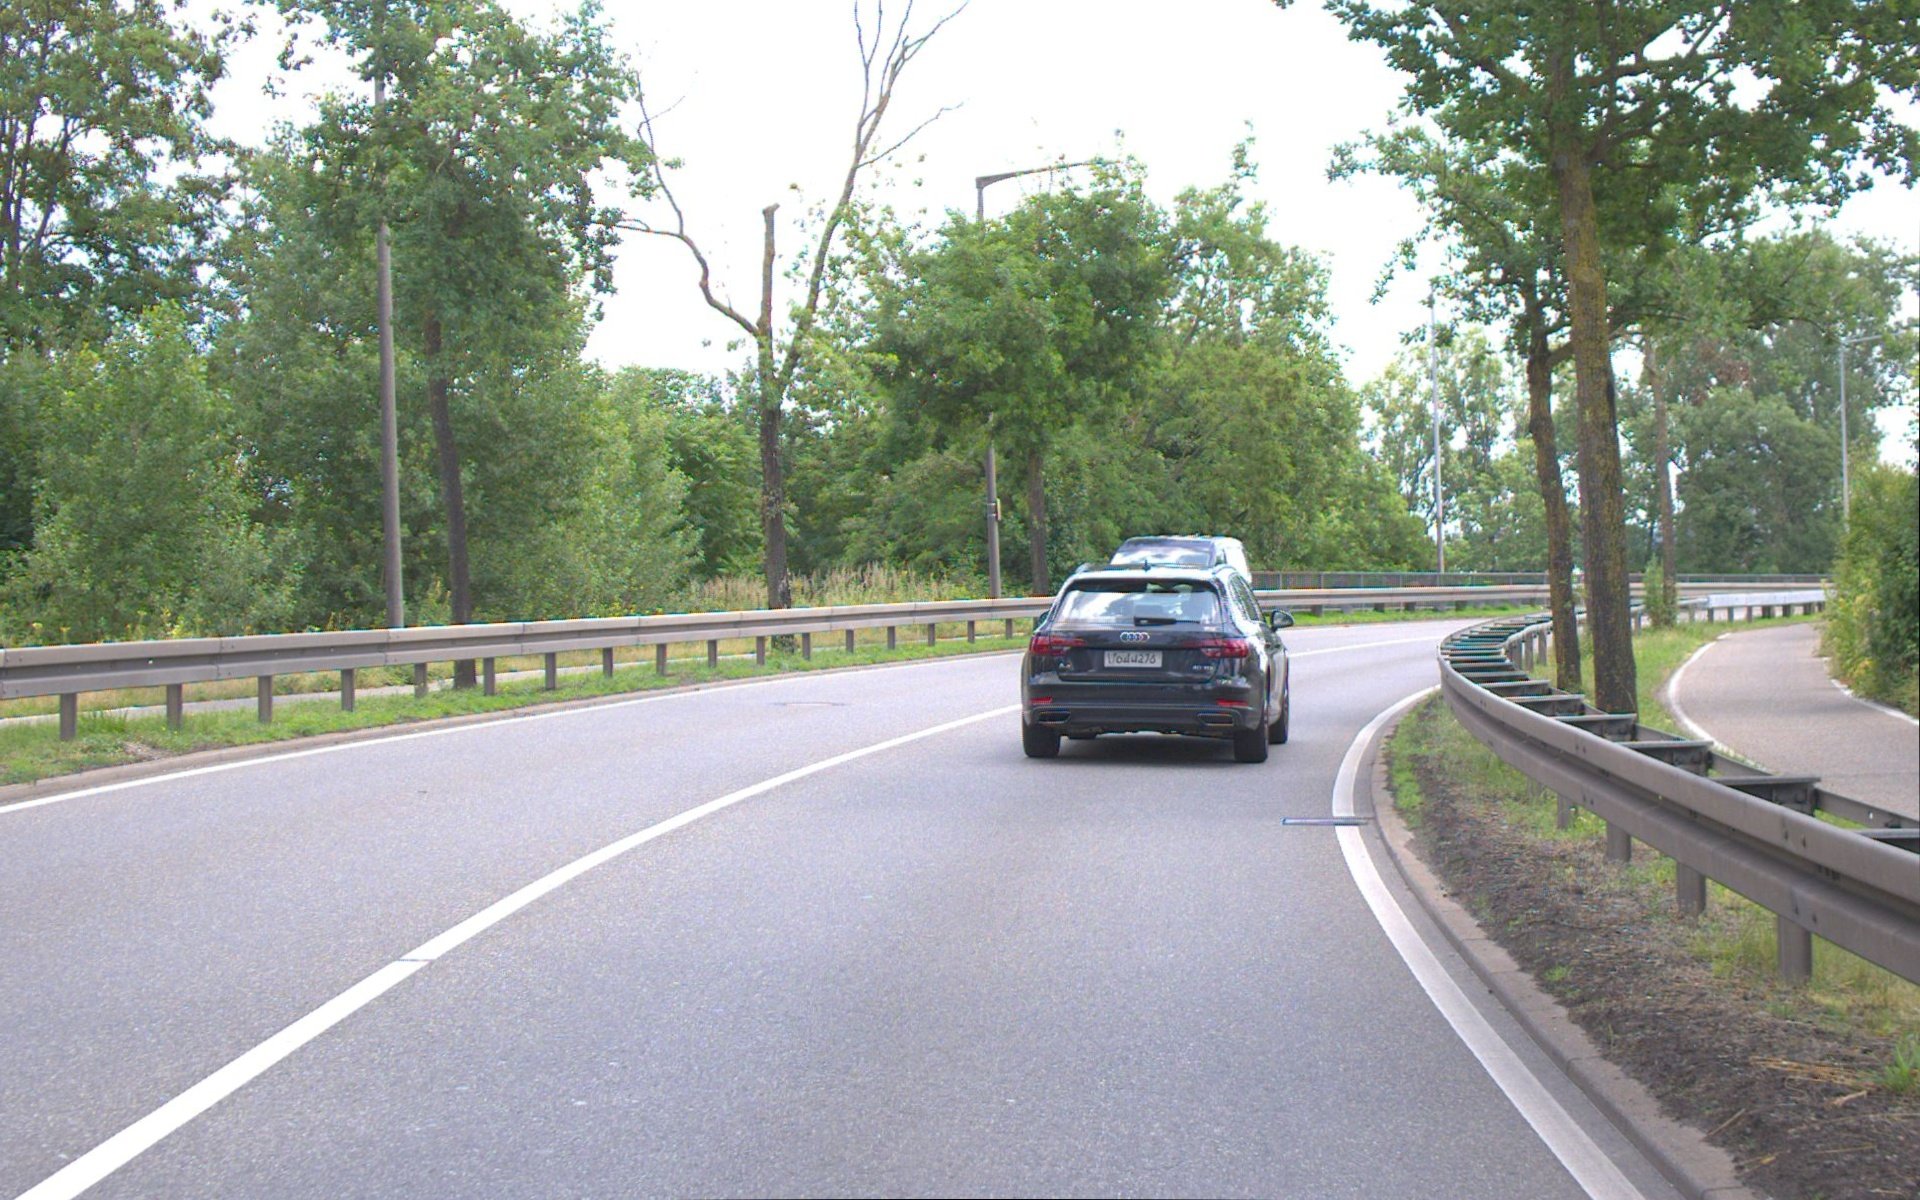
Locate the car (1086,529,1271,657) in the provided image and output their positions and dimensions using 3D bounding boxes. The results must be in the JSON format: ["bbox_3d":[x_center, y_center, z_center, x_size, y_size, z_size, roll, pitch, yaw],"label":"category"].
[{"bbox_3d":[3.175,-0.119,49.156,1.854,1.703,4.309,2,1,14],"label":"car"}]

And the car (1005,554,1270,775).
[{"bbox_3d":[1.306,0.422,26.128,1.828,1.486,4.207,1,1,2],"label":"car"}]
